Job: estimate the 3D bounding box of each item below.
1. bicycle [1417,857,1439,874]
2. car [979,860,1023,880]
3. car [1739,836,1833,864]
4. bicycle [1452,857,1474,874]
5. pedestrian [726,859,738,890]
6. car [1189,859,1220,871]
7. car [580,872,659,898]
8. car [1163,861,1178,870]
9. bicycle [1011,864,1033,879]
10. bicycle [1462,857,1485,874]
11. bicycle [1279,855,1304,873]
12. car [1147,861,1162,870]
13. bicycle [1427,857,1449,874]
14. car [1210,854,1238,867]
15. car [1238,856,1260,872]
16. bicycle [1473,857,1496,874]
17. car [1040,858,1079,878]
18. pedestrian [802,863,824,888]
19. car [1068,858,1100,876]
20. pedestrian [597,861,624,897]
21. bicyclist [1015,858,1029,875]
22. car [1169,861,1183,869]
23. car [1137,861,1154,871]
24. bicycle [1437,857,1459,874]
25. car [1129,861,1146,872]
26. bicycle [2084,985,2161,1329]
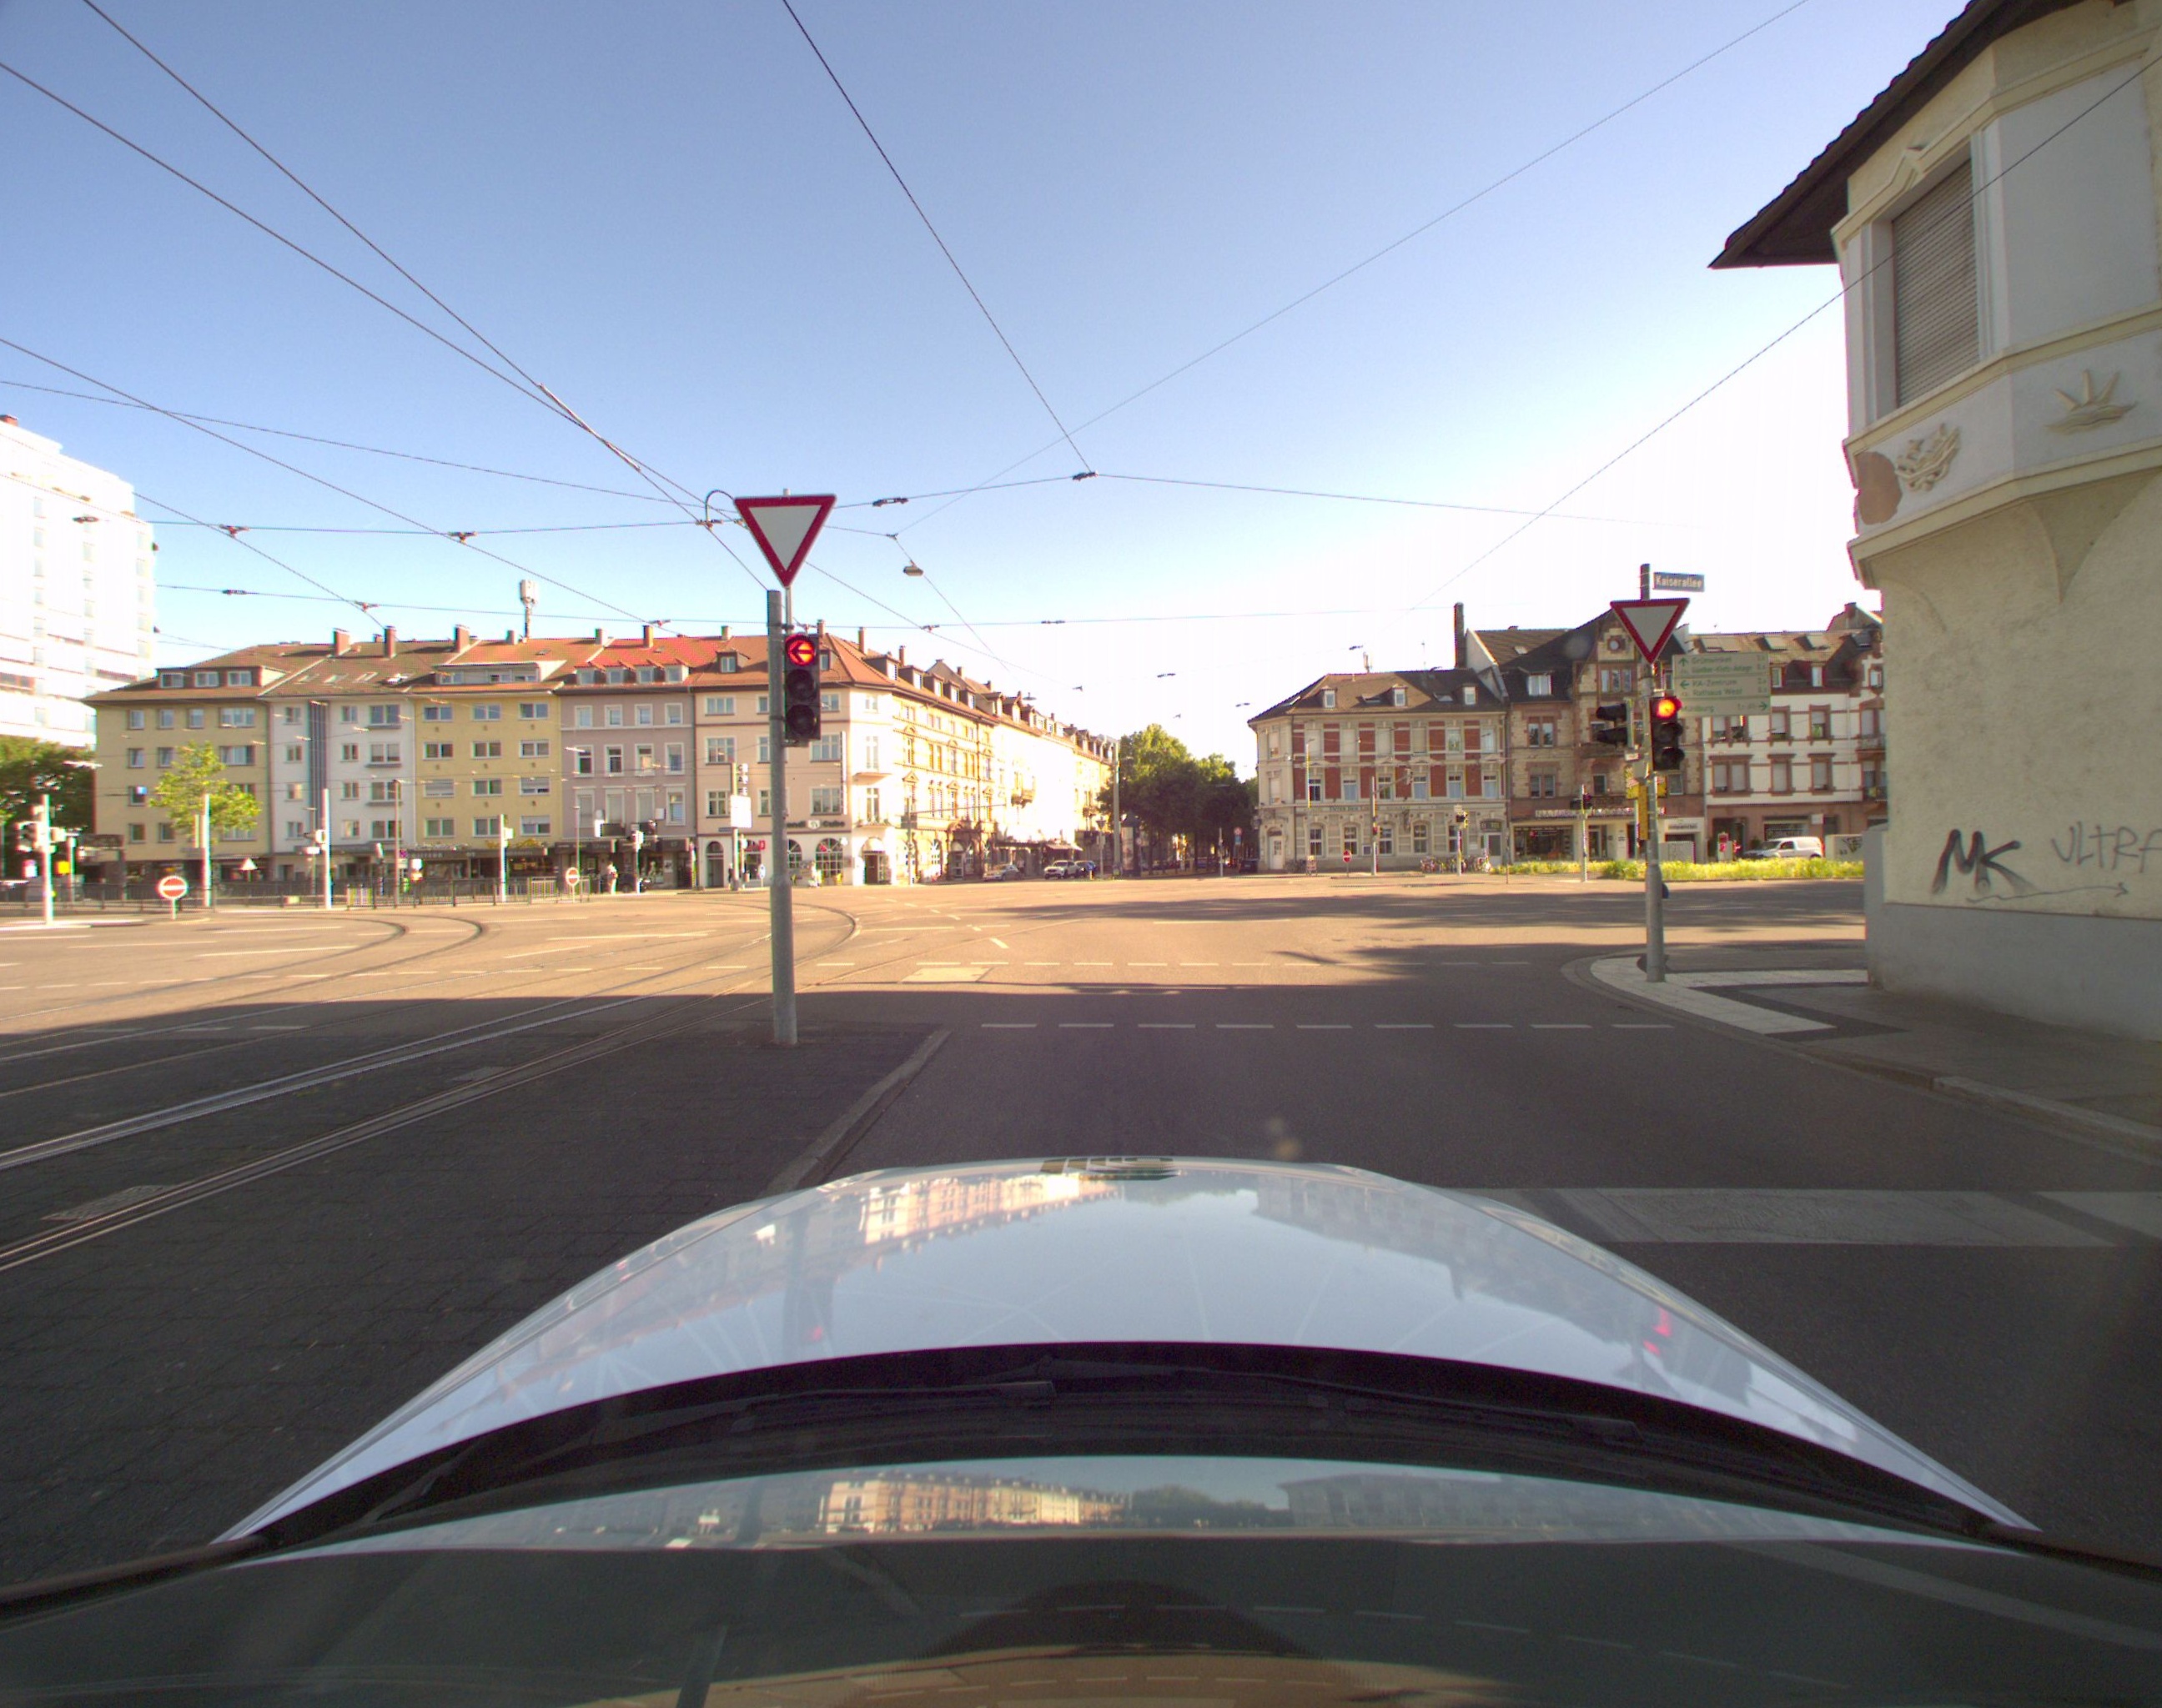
[{"bbox_3d":[22.498,0.739,52.829,0.603,1.051,1.641,-1,0,-3],"label":"bicycle"},{"bbox_3d":[-6.594,1.303,67.691,2.080,1.545,4.382,-2,0,16],"label":"car"},{"bbox_3d":[45.387,-0.232,52.460,4.356,1.654,1.999,-1,0,-2],"label":"car"},{"bbox_3d":[24.642,0.721,52.559,0.603,1.051,1.641,-1,0,-3],"label":"bicycle"},{"bbox_3d":[-22.775,1.356,53.115,0.506,2.013,0.505,-1,0,5],"label":"pedestrian"},{"bbox_3d":[17.494,1.527,114.983,4.078,1.646,1.754,1,0,17],"label":"car"},{"bbox_3d":[-30.272,1.991,53.527,3.978,1.464,1.998,-2,0,-4],"label":"car"},{"bbox_3d":[14.450,1.813,131.447,1.728,1.397,4.141,1,0,16],"label":"car"},{"bbox_3d":[-4.765,1.430,65.891,0.745,1.135,2.821,-1,0,16],"label":"bicycle"},{"bbox_3d":[25.317,0.717,52.609,0.603,1.051,1.641,-1,0,-3],"label":"bicycle"},{"bbox_3d":[14.698,0.690,56.930,1.625,1.222,0.609,-1,0,18],"label":"bicycle"},{"bbox_3d":[11.072,1.730,122.700,1.729,1.397,4.137,1,0,12],"label":"car"},{"bbox_3d":[23.152,0.735,52.859,0.603,1.051,1.641,-1,0,-3],"label":"bicycle"},{"bbox_3d":[23.382,1.089,133.062,4.074,1.919,1.756,1,0,23],"label":"car"},{"bbox_3d":[16.910,0.992,82.042,1.637,1.524,3.772,-2,-1,20],"label":"car"},{"bbox_3d":[26.055,0.711,52.601,0.603,1.051,1.641,-1,0,-3],"label":"bicycle"},{"bbox_3d":[-1.727,1.162,67.361,2.080,1.499,4.017,-1,0,16],"label":"car"},{"bbox_3d":[-18.032,1.434,54.802,1.060,1.591,1.043,-1,0,4],"label":"pedestrian"},{"bbox_3d":[0.295,1.151,73.684,1.979,1.513,4.015,-1,0,14],"label":"car"},{"bbox_3d":[-24.569,1.309,42.550,0.871,1.818,0.811,-1,0,2],"label":"pedestrian"},{"bbox_3d":[-4.763,0.986,65.863,0.787,1.375,1.113,-1,0,16],"label":"bicyclist"},{"bbox_3d":[15.874,1.836,136.194,1.728,1.397,4.141,1,0,16],"label":"car"},{"bbox_3d":[9.184,1.687,115.764,1.729,1.397,4.137,1,0,12],"label":"car"},{"bbox_3d":[23.815,0.730,52.859,0.603,1.051,1.641,-1,0,-3],"label":"bicycle"},{"bbox_3d":[7.610,1.652,109.993,1.729,1.397,4.137,1,0,12],"label":"car"},{"bbox_3d":[3.534,0.937,1.781,0.530,1.016,1.759,-1,0,2],"label":"bicycle"}]
